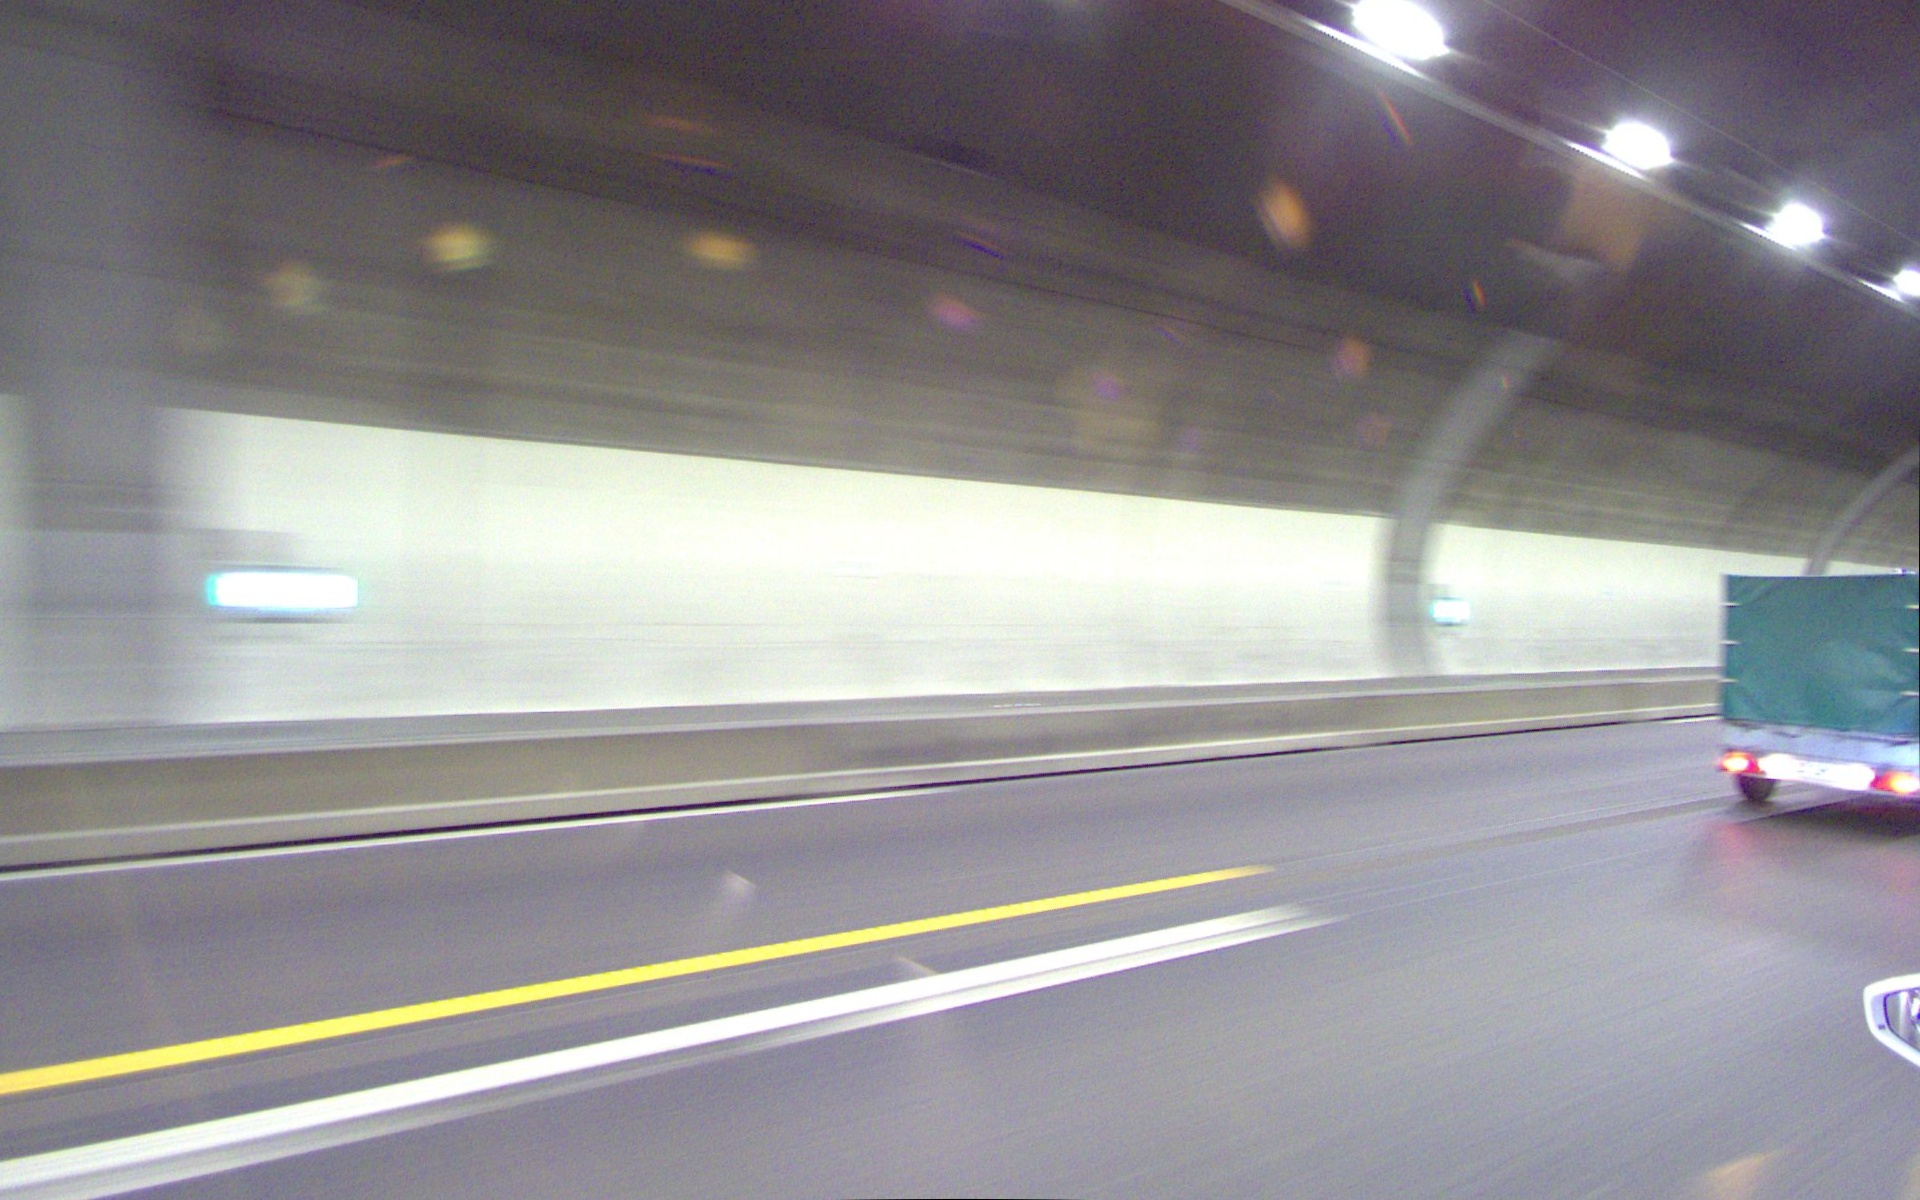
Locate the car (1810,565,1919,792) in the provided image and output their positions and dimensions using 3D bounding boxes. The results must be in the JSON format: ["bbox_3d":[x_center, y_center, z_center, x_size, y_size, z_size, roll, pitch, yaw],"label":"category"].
[{"bbox_3d":[10.592,0.726,9.695,5.390,1.920,1.984,1,0,-31],"label":"car"}]
